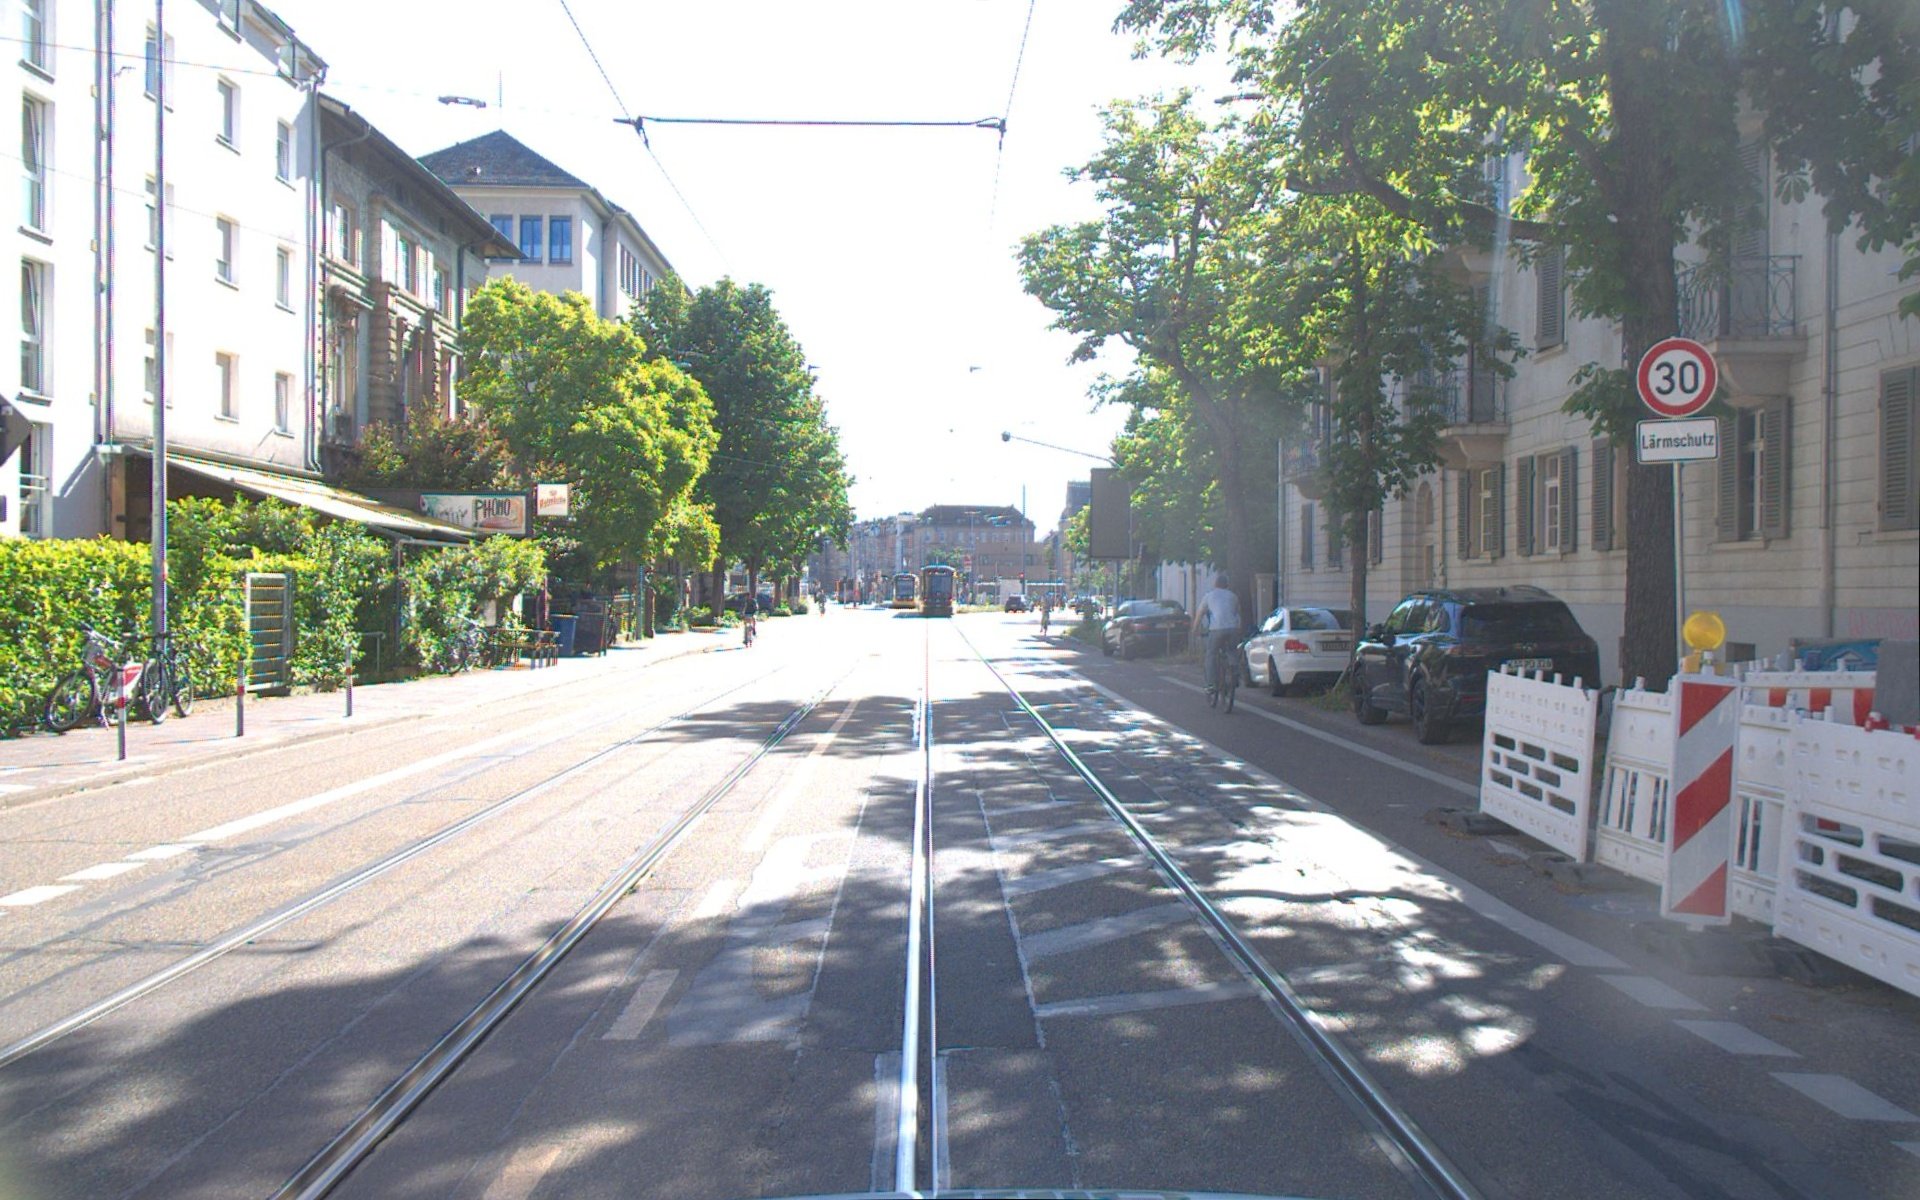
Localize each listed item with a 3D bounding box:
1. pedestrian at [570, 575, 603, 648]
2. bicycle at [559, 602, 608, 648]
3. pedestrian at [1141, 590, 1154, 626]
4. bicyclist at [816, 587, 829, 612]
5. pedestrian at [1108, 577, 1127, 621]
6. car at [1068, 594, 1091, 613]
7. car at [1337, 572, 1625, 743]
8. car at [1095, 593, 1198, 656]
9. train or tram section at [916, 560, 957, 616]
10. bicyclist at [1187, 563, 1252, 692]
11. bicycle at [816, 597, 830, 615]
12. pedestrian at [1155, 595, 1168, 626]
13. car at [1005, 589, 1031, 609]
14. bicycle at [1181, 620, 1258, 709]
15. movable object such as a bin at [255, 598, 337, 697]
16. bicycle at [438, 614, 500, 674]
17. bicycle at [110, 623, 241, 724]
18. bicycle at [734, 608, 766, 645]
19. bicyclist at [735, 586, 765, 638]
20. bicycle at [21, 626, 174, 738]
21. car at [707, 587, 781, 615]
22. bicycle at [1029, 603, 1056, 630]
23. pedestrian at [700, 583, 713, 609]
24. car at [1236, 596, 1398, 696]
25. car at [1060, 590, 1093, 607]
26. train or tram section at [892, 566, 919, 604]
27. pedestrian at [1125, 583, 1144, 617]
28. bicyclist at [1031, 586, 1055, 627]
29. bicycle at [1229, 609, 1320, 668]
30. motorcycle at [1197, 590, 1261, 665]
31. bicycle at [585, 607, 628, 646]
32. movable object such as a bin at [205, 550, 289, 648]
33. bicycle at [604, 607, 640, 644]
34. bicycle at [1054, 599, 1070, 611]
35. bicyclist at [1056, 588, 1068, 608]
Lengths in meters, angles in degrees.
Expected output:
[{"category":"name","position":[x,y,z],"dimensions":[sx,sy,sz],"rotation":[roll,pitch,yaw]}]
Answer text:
[{"category":"pedestrian","position":[-9.658,0.293,42.778],"dimensions":[0.563,1.863,0.690],"rotation":[0,0,18]},{"category":"bicycle","position":[-10.092,0.655,44.449],"dimensions":[0.632,1.163,1.906],"rotation":[2,0,7]},{"category":"pedestrian","position":[8.597,0.369,75.753],"dimensions":[0.507,1.628,0.765],"rotation":[0,0,2]},{"category":"bicyclist","position":[-9.316,-0.052,112.145],"dimensions":[0.672,1.673,1.238],"rotation":[-2,0,3]},{"category":"pedestrian","position":[6.900,-0.043,72.335],"dimensions":[0.670,1.882,0.955],"rotation":[-1,0,-2]},{"category":"car","position":[10.435,0.303,144.608],"dimensions":[1.752,1.537,3.713],"rotation":[2,1,1]},{"category":"car","position":[5.749,0.555,18.891],"dimensions":[1.774,1.654,4.583],"rotation":[-2,0,0]},{"category":"car","position":[4.794,0.601,43.173],"dimensions":[1.786,1.484,4.814],"rotation":[-1,0,-4]},{"category":"train or tram section","position":[-1.744,-0.917,117.374],"dimensions":[2.687,3.715,13.781],"rotation":[0,1,-2]},{"category":"bicyclist","position":[3.565,0.363,22.787],"dimensions":[0.723,1.715,0.972],"rotation":[2,0,1]},{"category":"bicycle","position":[-9.302,0.394,112.164],"dimensions":[0.672,1.144,1.932],"rotation":[-2,0,3]},{"category":"pedestrian","position":[9.218,0.482,75.719],"dimensions":[0.507,1.429,0.765],"rotation":[0,0,2]},{"category":"car","position":[5.034,-0.085,143.647],"dimensions":[1.751,1.632,3.716],"rotation":[2,1,9]},{"category":"bicycle","position":[3.551,0.857,22.803],"dimensions":[0.723,1.113,2.111],"rotation":[2,0,1]},{"category":"movable object such as a bin","position":[-10.303,0.723,25.717],"dimensions":[0.790,1.482,1.258],"rotation":[-1,0,-3]},{"category":"bicycle","position":[-9.497,0.829,32.035],"dimensions":[0.625,1.077,1.743],"rotation":[3,0,0]},{"category":"bicycle","position":[-9.372,0.854,19.837],"dimensions":[0.648,1.108,1.840],"rotation":[3,-1,0]},{"category":"bicycle","position":[-6.683,0.831,52.802],"dimensions":[0.730,1.100,1.899],"rotation":[-3,0,0]},{"category":"bicyclist","position":[-6.705,0.371,52.801],"dimensions":[0.730,1.627,1.118],"rotation":[-3,0,0]},{"category":"bicycle","position":[-9.325,0.859,17.965],"dimensions":[0.648,1.108,1.840],"rotation":[3,-1,0]},{"category":"car","position":[-12.811,0.056,98.182],"dimensions":[3.942,1.577,1.860],"rotation":[1,0,-29]},{"category":"bicycle","position":[3.527,0.708,70.733],"dimensions":[0.690,1.124,1.718],"rotation":[2,1,18]},{"category":"pedestrian","position":[-16.687,-0.292,108.948],"dimensions":[0.686,1.663,0.759],"rotation":[3,0,-1]},{"category":"car","position":[5.641,0.670,26.639],"dimensions":[1.688,1.406,4.356],"rotation":[-1,0,1]},{"category":"car","position":[11.753,-0.113,166.287],"dimensions":[1.672,1.672,3.701],"rotation":[2,1,34]},{"category":"train or tram section","position":[-5.657,-1.578,172.009],"dimensions":[2.687,3.715,13.781],"rotation":[0,1,-2]},{"category":"pedestrian","position":[8.710,0.002,82.618],"dimensions":[0.839,1.669,0.993],"rotation":[0,-1,1]},{"category":"bicyclist","position":[3.541,0.284,70.728],"dimensions":[0.690,1.704,1.102],"rotation":[2,1,18]},{"category":"bicycle","position":[5.980,0.731,31.473],"dimensions":[1.586,1.061,0.685],"rotation":[-1,0,0]},{"category":"motorcycle","position":[5.699,0.557,35.213],"dimensions":[0.895,1.514,2.679],"rotation":[-2,0,0]},{"category":"bicycle","position":[-10.040,0.746,47.037],"dimensions":[0.577,1.064,1.906],"rotation":[1,0,7]},{"category":"movable object such as a bin","position":[-11.176,-0.024,25.976],"dimensions":[0.790,1.482,1.258],"rotation":[-1,0,-3]},{"category":"bicycle","position":[-10.019,0.745,49.059],"dimensions":[0.577,1.064,1.905],"rotation":[2,0,2]},{"category":"bicycle","position":[9.056,0.448,146.585],"dimensions":[0.691,1.073,2.313],"rotation":[3,1,23]},{"category":"bicyclist","position":[9.073,-0.222,146.557],"dimensions":[0.691,1.730,0.986],"rotation":[3,1,23]}]
